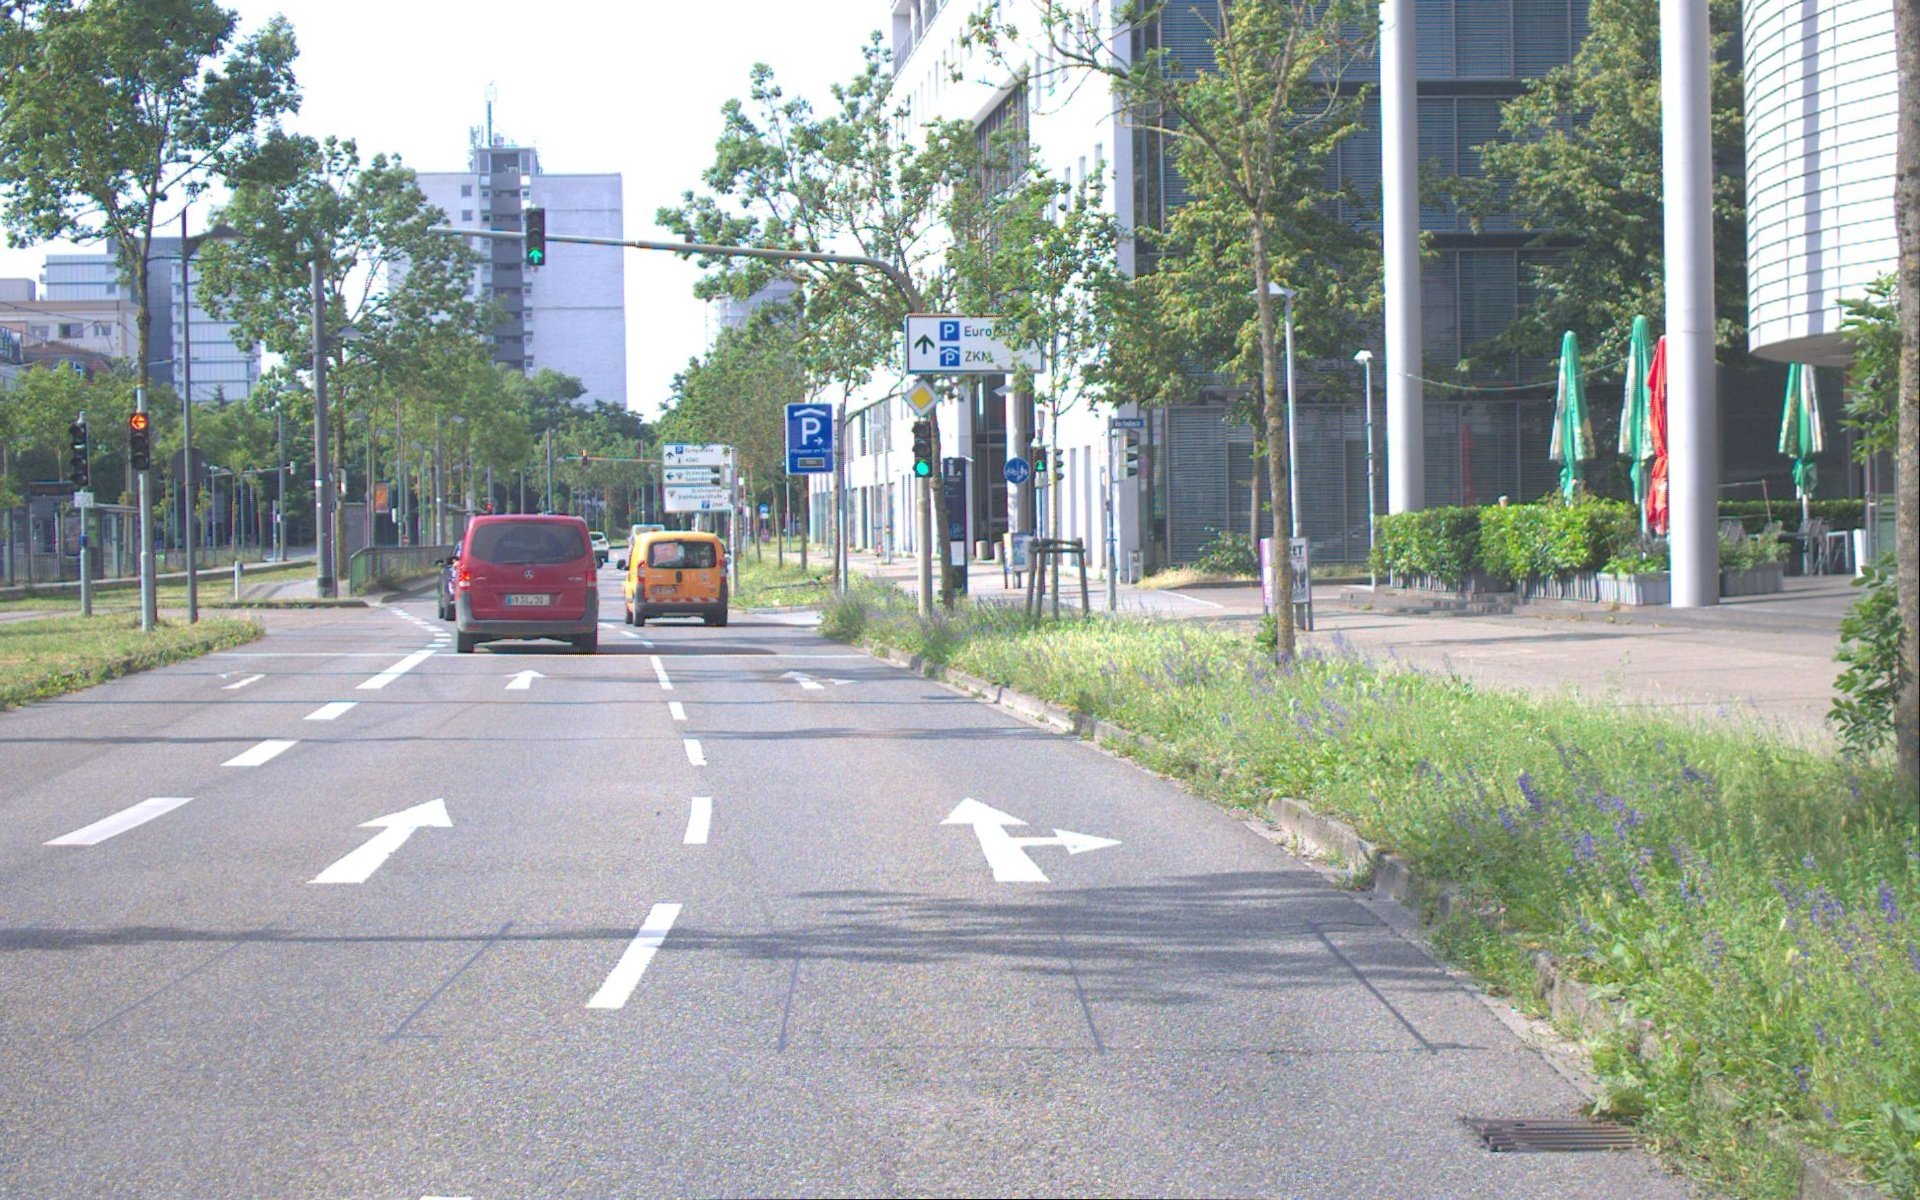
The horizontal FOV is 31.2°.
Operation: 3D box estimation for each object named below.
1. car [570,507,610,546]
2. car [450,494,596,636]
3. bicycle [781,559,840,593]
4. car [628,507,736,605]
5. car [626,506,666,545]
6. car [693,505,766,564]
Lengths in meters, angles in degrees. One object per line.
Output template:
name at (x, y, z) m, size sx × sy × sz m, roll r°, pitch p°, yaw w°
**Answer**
car at (-19.520, -3.879, 181.075) m, size 1.993 × 2.007 × 4.001 m, roll -1°, pitch 1°, yaw -7°
car at (-5.964, -0.500, 46.995) m, size 1.874 × 1.847 × 4.001 m, roll 0°, pitch 1°, yaw -7°
bicycle at (-3.428, -0.544, 78.897) m, size 1.271 × 0.630 × 0.521 m, roll -7°, pitch 1°, yaw 2°
car at (-5.049, -0.817, 62.261) m, size 1.875 × 1.690 × 3.974 m, roll 0°, pitch 1°, yaw -5°
car at (-16.667, -3.959, 182.354) m, size 1.993 × 2.007 × 4.001 m, roll -1°, pitch 1°, yaw -6°
car at (-6.199, -1.772, 92.171) m, size 1.720 × 1.514 × 3.782 m, roll -1°, pitch 1°, yaw -7°
